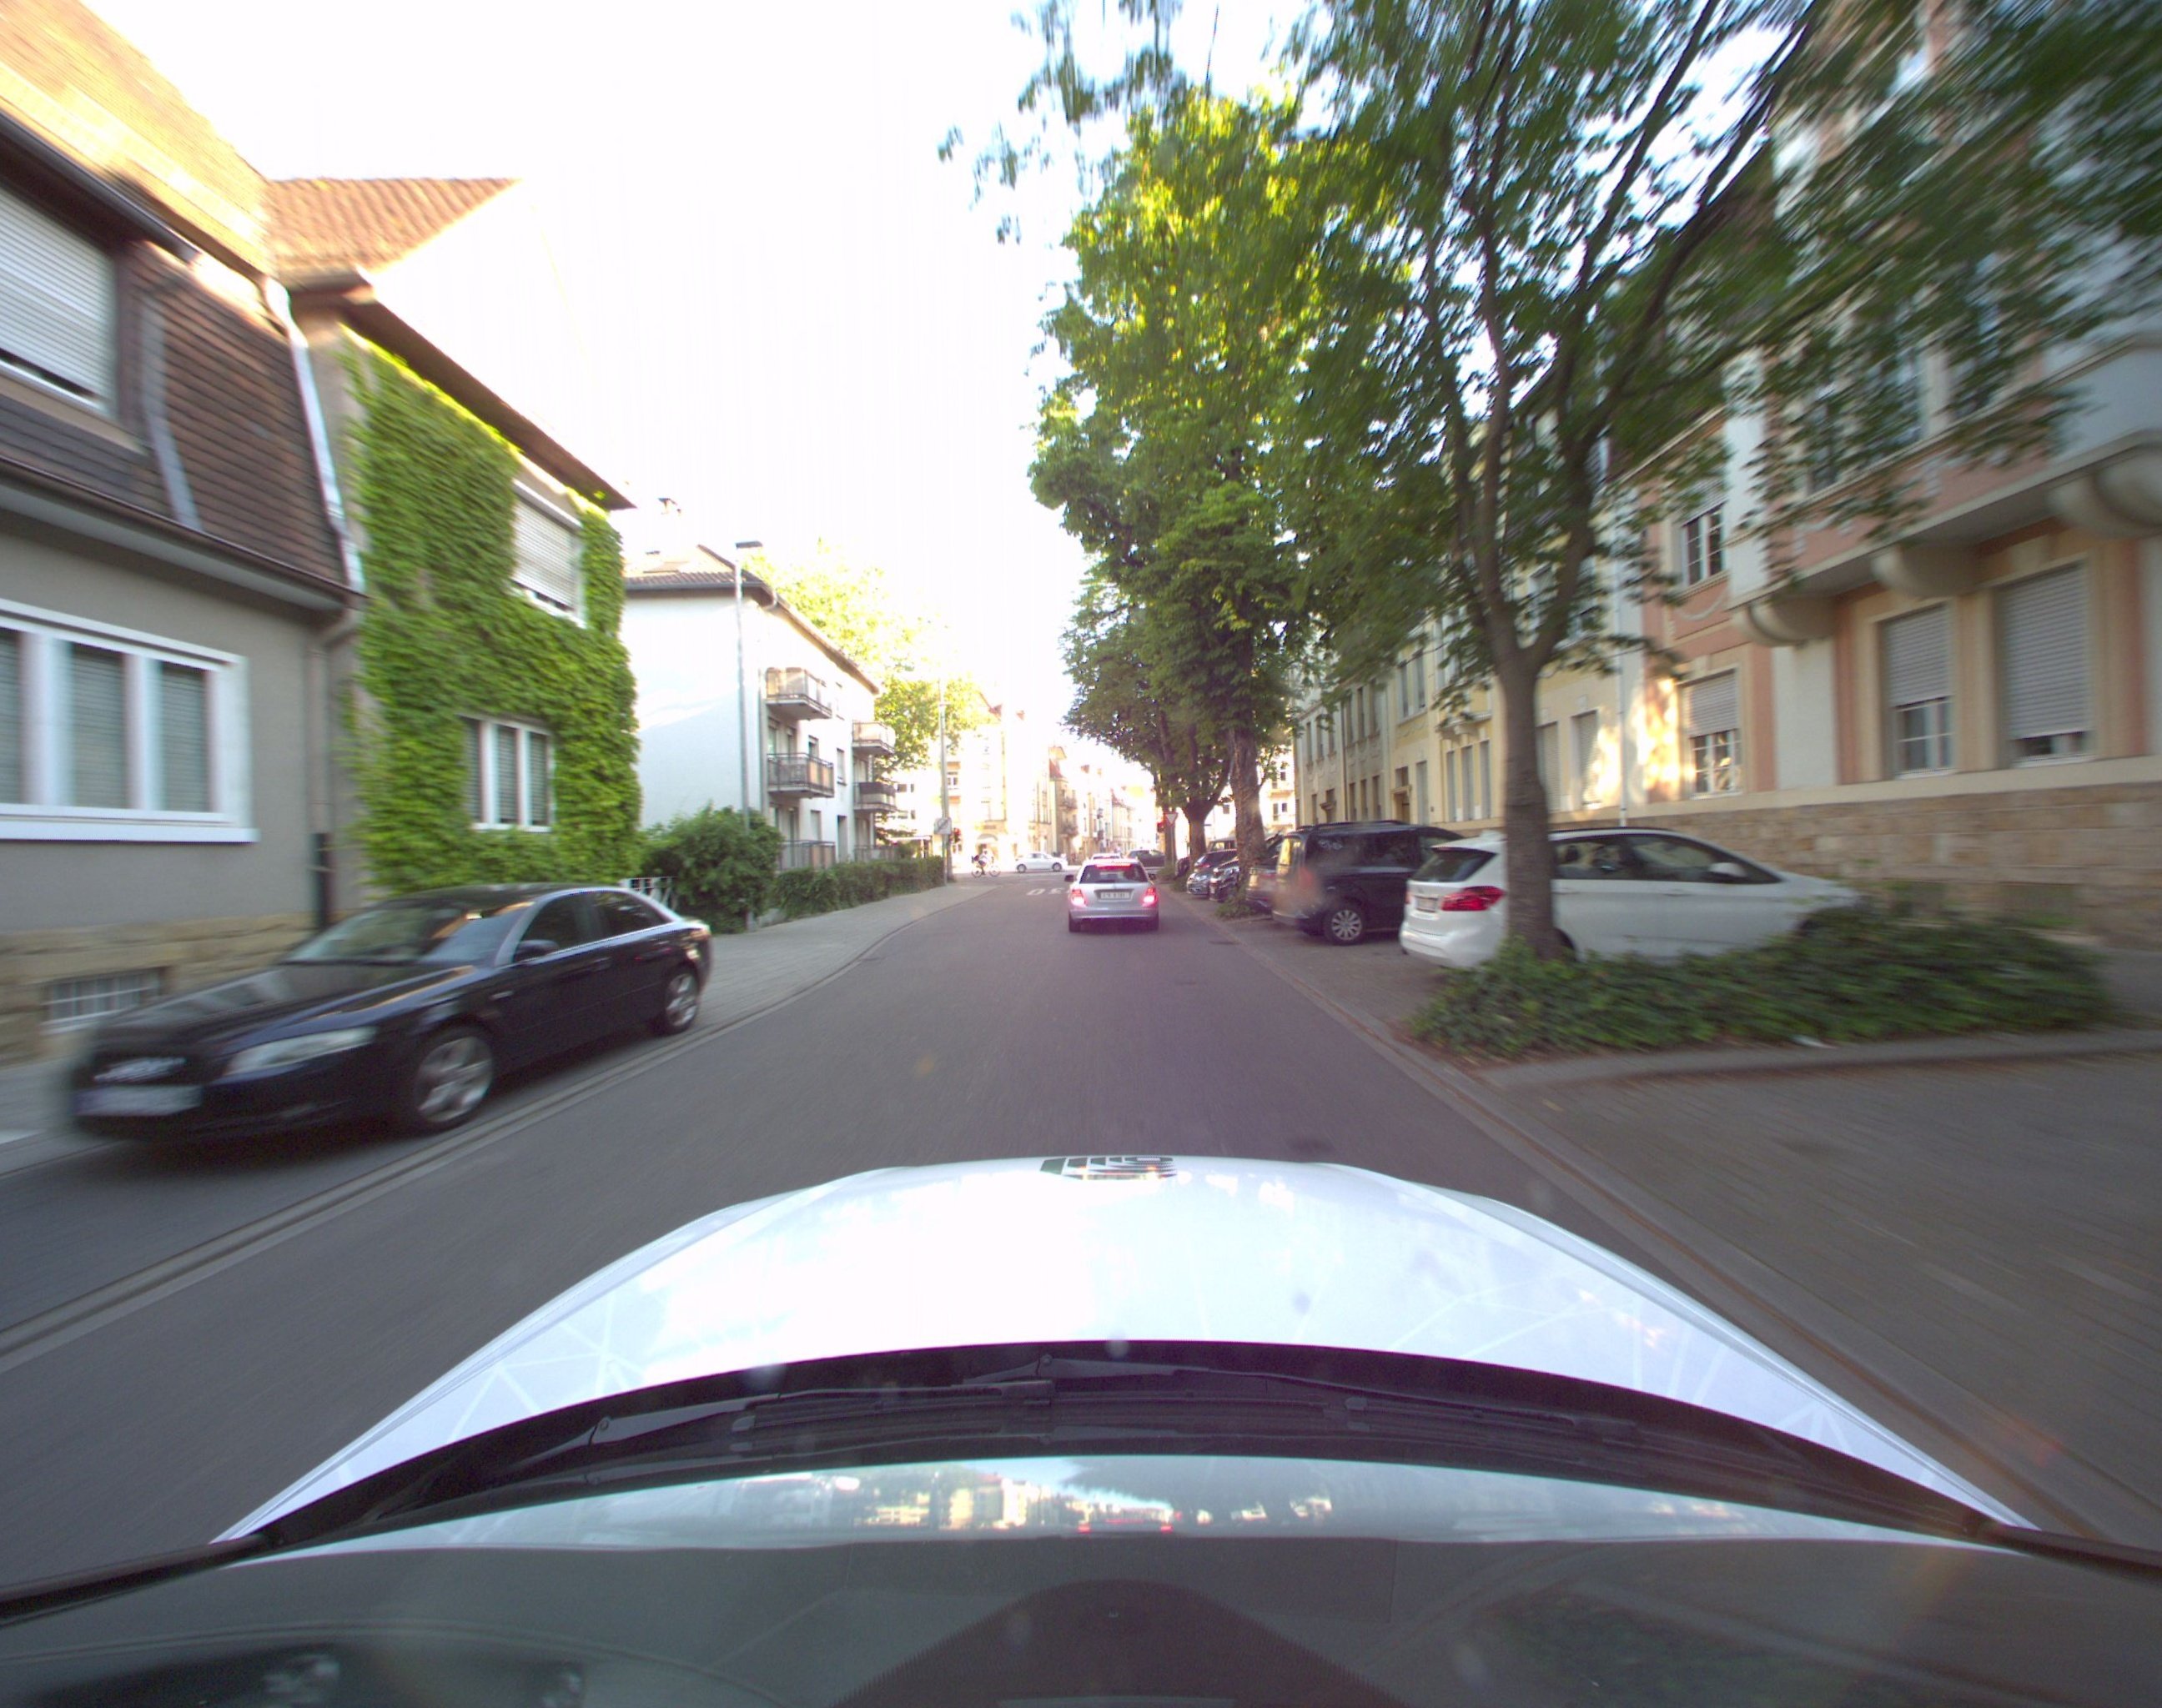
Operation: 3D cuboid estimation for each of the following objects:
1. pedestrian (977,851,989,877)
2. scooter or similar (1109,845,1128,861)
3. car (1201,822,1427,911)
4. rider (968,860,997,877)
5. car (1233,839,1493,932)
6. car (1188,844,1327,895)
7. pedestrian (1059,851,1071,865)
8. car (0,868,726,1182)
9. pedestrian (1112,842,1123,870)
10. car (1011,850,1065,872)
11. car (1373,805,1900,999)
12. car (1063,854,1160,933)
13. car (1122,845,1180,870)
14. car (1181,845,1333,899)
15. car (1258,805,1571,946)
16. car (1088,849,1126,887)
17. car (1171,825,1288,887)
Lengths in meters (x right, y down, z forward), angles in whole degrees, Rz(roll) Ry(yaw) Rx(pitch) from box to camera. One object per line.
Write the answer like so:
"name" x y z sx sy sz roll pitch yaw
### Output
"pedestrian" -6.462 0.664 53.758 0.768 1.645 0.504 -2 0 -7
"scooter or similar" 2.545 -0.057 55.038 1.172 1.052 0.409 -3 0 -2
"car" 5.694 0.294 20.369 5.038 1.989 2.071 -1 0 -1
"rider" -6.487 0.970 53.755 1.872 1.038 0.510 -2 0 -7
"car" 5.208 0.551 15.462 4.275 1.541 1.876 -1 0 -1
"car" 5.903 0.499 27.614 4.275 1.541 1.898 -1 0 -1
"pedestrian" -1.880 0.485 96.967 1.215 1.721 1.505 -1 0 5
"car" -4.591 0.885 6.214 1.688 1.447 4.360 0 0 2
"pedestrian" 2.477 0.107 55.034 0.641 1.866 0.410 -3 0 -2
"car" -3.164 0.491 59.812 3.883 1.515 1.704 -1 0 -7
"car" 5.425 0.450 8.424 4.095 1.571 1.878 -3 0 2
"car" 0.651 0.743 16.913 1.777 1.437 3.853 -1 0 3
"car" 4.984 0.236 57.990 3.880 1.642 1.752 -1 0 -4
"car" 5.376 0.531 25.305 4.275 1.417 1.876 -3 0 -1
"car" 5.191 0.320 13.115 4.206 1.896 1.905 -3 0 -1
"car" 1.206 0.590 36.797 1.617 1.570 3.683 -1 0 3
"car" 5.970 0.068 33.215 4.375 2.364 2.000 -1 0 -1
